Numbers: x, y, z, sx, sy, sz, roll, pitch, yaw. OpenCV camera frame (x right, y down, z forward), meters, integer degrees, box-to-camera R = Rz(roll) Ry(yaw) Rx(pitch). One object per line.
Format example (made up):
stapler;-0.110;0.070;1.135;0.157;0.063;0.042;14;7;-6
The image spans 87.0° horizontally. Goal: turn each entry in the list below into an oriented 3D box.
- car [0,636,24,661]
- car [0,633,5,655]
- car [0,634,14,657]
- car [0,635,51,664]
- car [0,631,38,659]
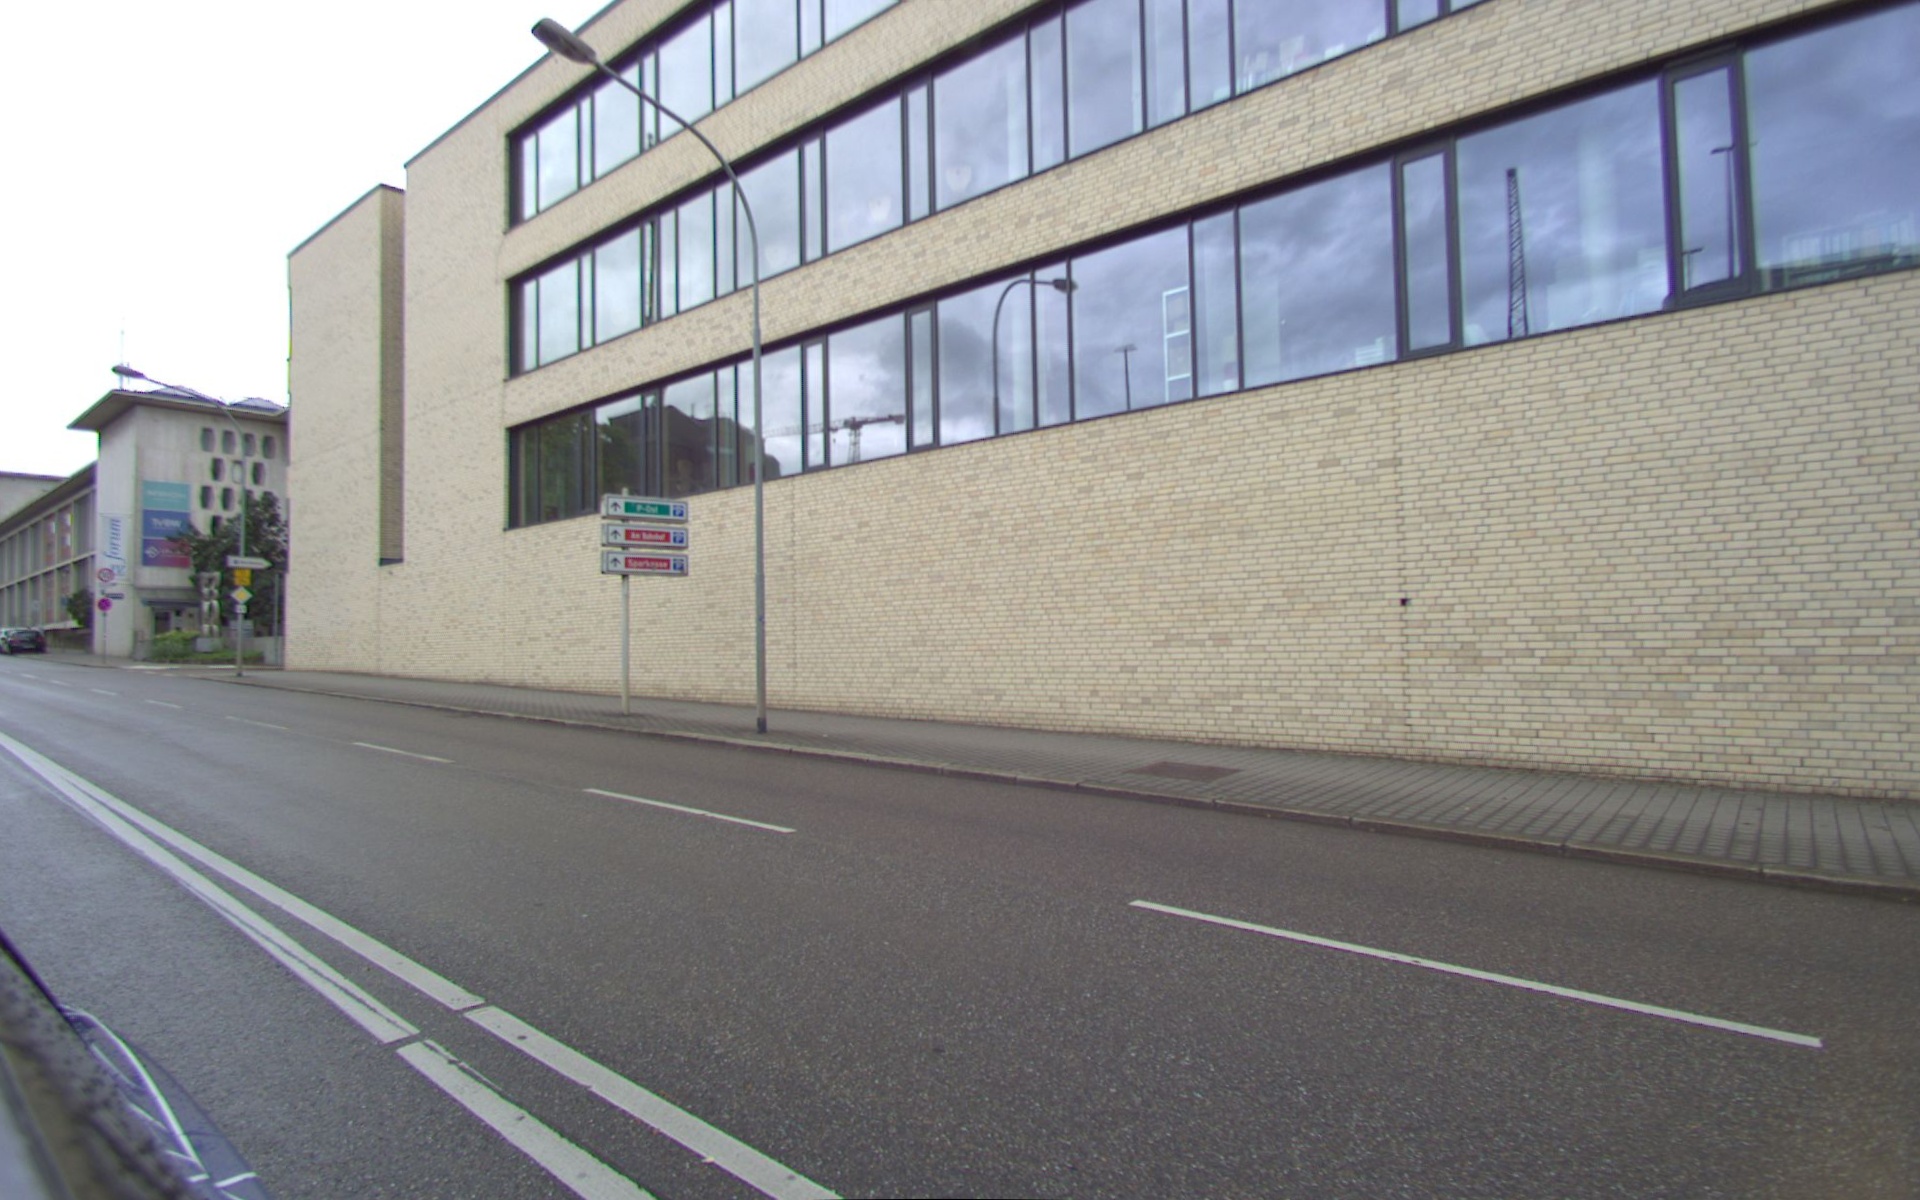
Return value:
car;-64.768;3.259;68.267;3.999;1.523;1.972;-1;0;42
car;-73.184;3.326;75.756;3.996;1.541;1.974;-1;1;40
car;-68.547;3.223;71.558;4.183;1.502;1.973;-1;0;41
car;-56.690;2.949;61.230;3.997;1.541;1.974;-1;0;40
car;-60.723;2.856;64.799;3.997;1.654;1.973;-1;0;41
